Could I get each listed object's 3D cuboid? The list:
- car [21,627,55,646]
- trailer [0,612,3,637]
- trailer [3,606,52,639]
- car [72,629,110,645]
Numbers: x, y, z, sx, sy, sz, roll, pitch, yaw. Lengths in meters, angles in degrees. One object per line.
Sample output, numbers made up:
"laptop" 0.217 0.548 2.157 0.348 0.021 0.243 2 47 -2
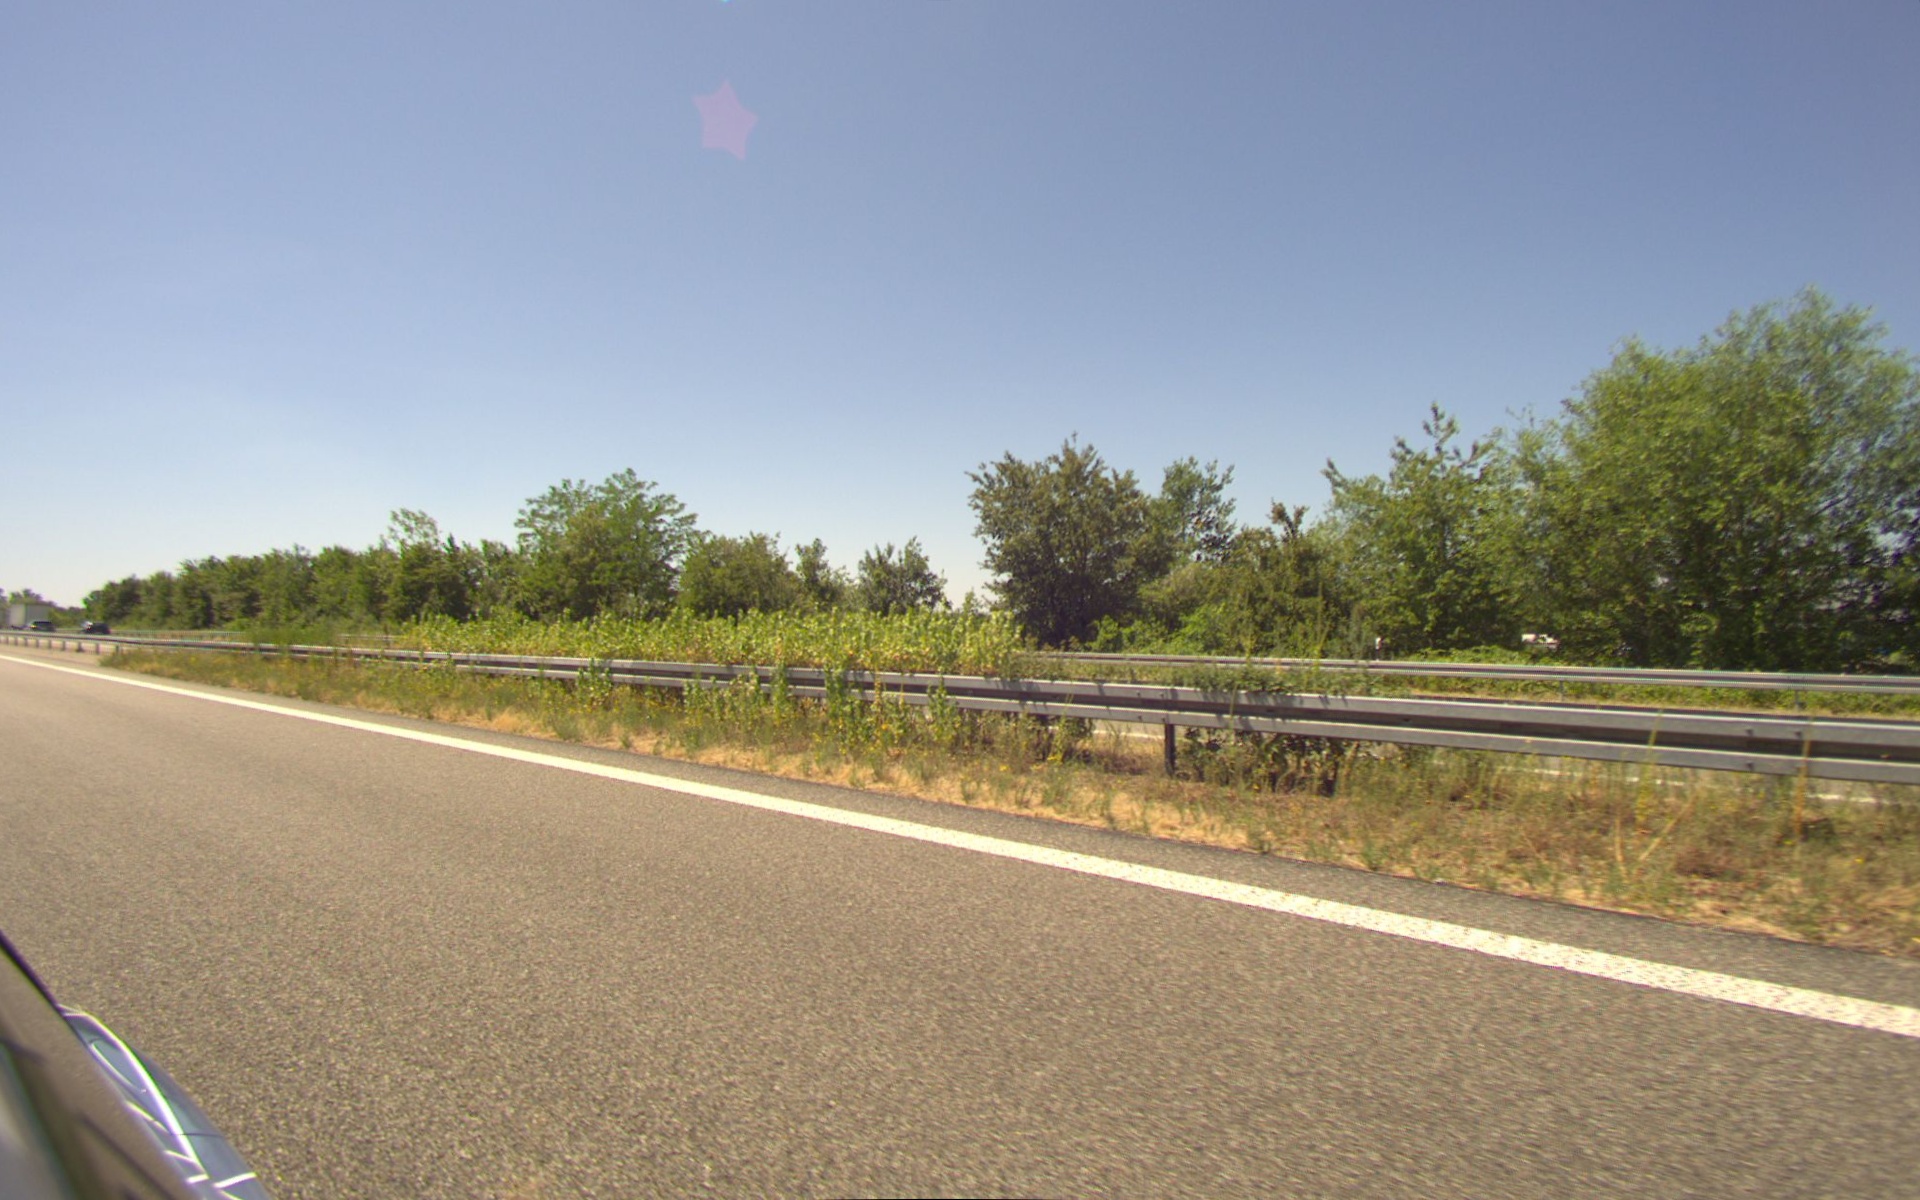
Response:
"car" -73.519 2.863 80.675 4.044 1.473 1.537 -2 -2 41
"trailer" -167.265 4.348 173.346 13.531 4.218 3.314 -2 -3 41
"trailer" -127.356 3.117 138.119 13.531 4.218 3.263 -2 -3 41
"car" -75.983 3.219 88.492 4.528 1.412 1.843 -1 -3 41
